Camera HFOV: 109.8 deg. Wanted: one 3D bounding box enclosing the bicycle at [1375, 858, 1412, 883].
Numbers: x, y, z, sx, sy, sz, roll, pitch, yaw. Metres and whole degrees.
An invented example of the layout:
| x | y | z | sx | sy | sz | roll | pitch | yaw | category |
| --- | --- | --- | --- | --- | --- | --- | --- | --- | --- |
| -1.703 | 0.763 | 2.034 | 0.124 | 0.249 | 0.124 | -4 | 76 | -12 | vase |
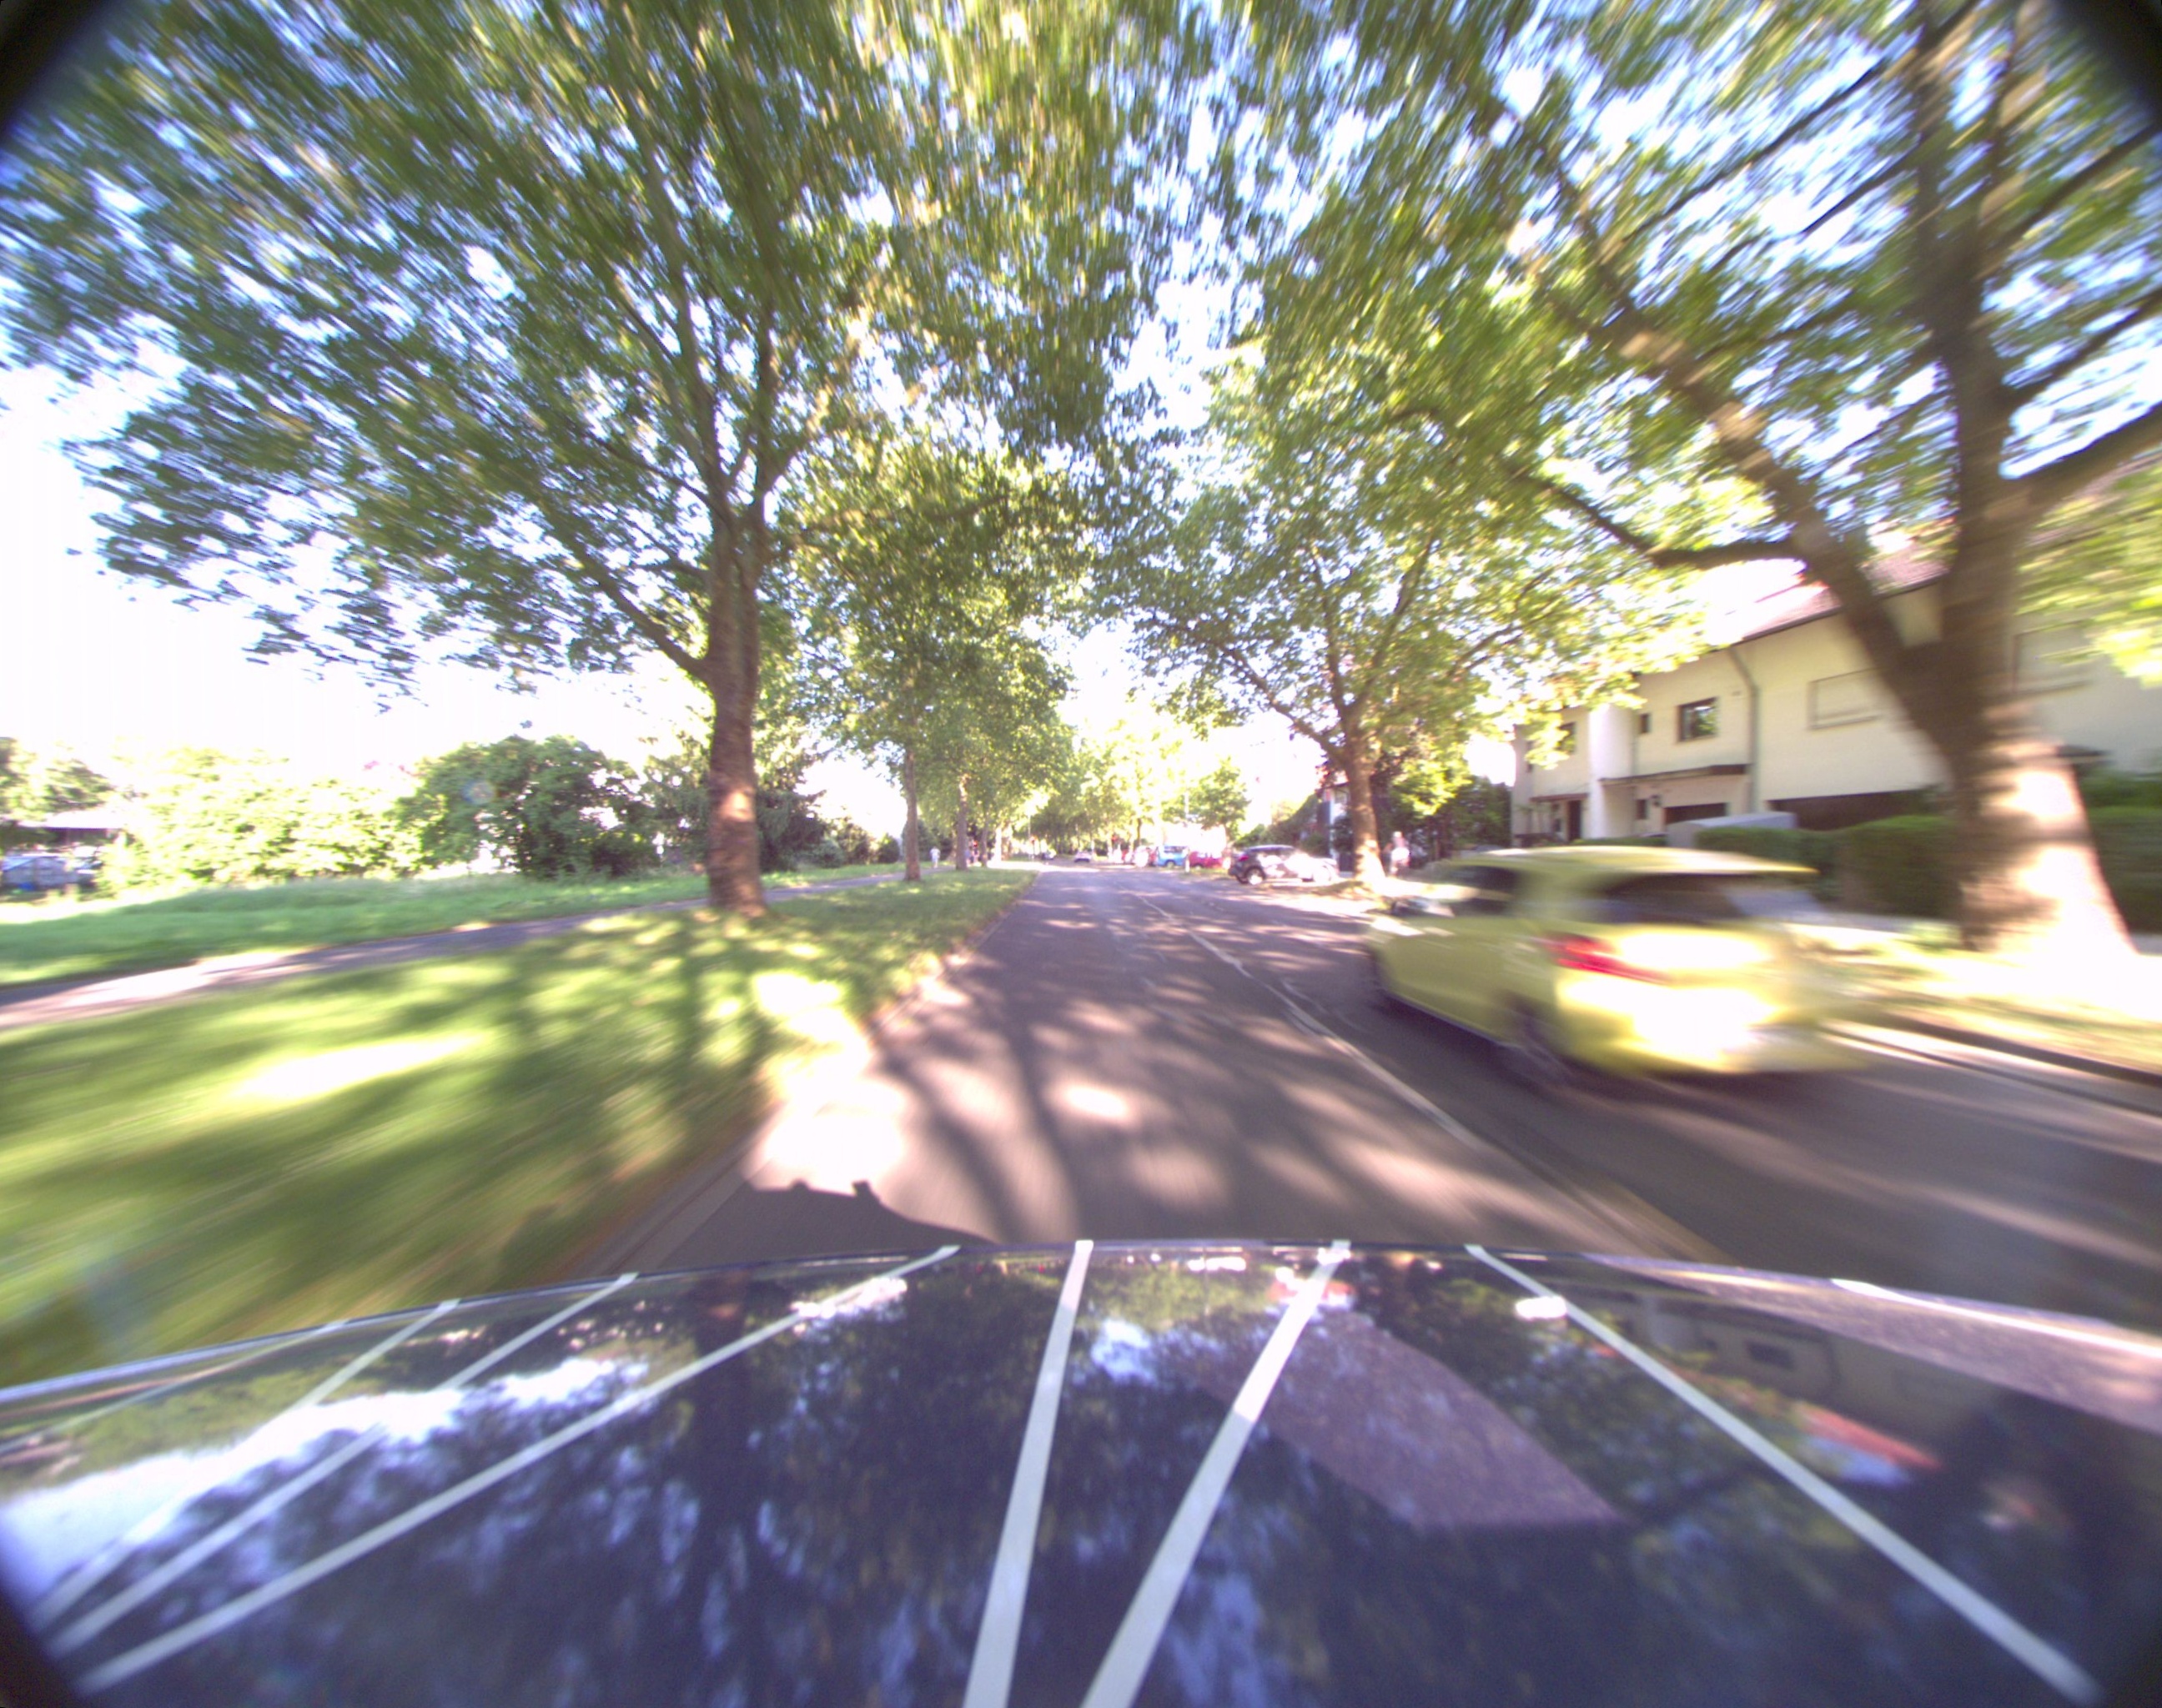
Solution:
| x | y | z | sx | sy | sz | roll | pitch | yaw | category |
| --- | --- | --- | --- | --- | --- | --- | --- | --- | --- |
| 11.689 | 0.599 | 28.468 | 0.471 | 0.875 | 2.155 | -1 | 1 | 0 | bicycle |

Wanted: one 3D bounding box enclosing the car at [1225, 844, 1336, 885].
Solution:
| x | y | z | sx | sy | sz | roll | pitch | yaw | category |
| --- | --- | --- | --- | --- | --- | --- | --- | --- | --- |
| 7.989 | 0.415 | 30.667 | 3.999 | 1.509 | 1.817 | -1 | 1 | -2 | car |

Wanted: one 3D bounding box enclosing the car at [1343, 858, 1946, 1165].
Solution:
| x | y | z | sx | sy | sz | roll | pitch | yaw | category |
| --- | --- | --- | --- | --- | --- | --- | --- | --- | --- |
| 3.501 | 0.812 | 5.762 | 1.788 | 1.504 | 3.838 | -1 | 0 | 1 | car |

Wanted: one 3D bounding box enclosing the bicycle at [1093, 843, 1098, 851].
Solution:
| x | y | z | sx | sy | sz | roll | pitch | yaw | category |
| --- | --- | --- | --- | --- | --- | --- | --- | --- | --- |
| 2.138 | -1.063 | 111.721 | 0.510 | 1.036 | 2.151 | 3 | 4 | -2 | bicycle |

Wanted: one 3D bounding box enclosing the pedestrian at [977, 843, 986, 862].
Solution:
| x | y | z | sx | sy | sz | roll | pitch | yaw | category |
| --- | --- | --- | --- | --- | --- | --- | --- | --- | --- |
| -9.721 | -0.175 | 74.190 | 0.763 | 1.835 | 0.787 | 0 | 1 | 0 | pedestrian |

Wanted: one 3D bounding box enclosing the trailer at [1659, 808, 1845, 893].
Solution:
| x | y | z | sx | sy | sz | roll | pitch | yaw | category |
| --- | --- | --- | --- | --- | --- | --- | --- | --- | --- |
| 17.979 | -0.087 | 20.463 | 3.462 | 1.914 | 1.643 | -5 | 0 | -2 | trailer |

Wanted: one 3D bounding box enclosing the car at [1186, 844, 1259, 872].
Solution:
| x | y | z | sx | sy | sz | roll | pitch | yaw | category |
| --- | --- | --- | --- | --- | --- | --- | --- | --- | --- |
| 8.276 | 0.219 | 44.511 | 3.883 | 1.510 | 1.664 | -2 | 2 | -5 | car |

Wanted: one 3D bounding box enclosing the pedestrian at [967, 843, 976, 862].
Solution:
| x | y | z | sx | sy | sz | roll | pitch | yaw | category |
| --- | --- | --- | --- | --- | --- | --- | --- | --- | --- |
| -10.629 | -0.143 | 73.990 | 0.756 | 1.837 | 0.802 | 0 | 1 | 0 | pedestrian |

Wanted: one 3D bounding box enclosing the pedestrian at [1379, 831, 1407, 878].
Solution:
| x | y | z | sx | sy | sz | roll | pitch | yaw | category |
| --- | --- | --- | --- | --- | --- | --- | --- | --- | --- |
| 11.653 | 0.002 | 28.400 | 0.618 | 1.706 | 1.065 | -1 | 1 | 0 | pedestrian |

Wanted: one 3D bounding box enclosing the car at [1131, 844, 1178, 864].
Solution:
| x | y | z | sx | sy | sz | roll | pitch | yaw | category |
| --- | --- | --- | --- | --- | --- | --- | --- | --- | --- |
| 6.700 | -0.046 | 69.518 | 4.103 | 1.706 | 1.831 | -1 | 1 | -4 | car |

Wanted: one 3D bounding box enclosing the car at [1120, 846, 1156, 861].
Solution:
| x | y | z | sx | sy | sz | roll | pitch | yaw | category |
| --- | --- | --- | --- | --- | --- | --- | --- | --- | --- |
| 6.319 | -0.036 | 84.530 | 3.776 | 1.526 | 1.830 | -1 | 1 | -6 | car |

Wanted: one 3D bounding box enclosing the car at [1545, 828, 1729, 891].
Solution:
| x | y | z | sx | sy | sz | roll | pitch | yaw | category |
| --- | --- | --- | --- | --- | --- | --- | --- | --- | --- |
| 16.634 | 0.152 | 22.885 | 3.997 | 1.468 | 2.000 | -5 | 1 | 0 | car |

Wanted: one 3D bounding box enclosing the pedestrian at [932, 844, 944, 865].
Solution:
| x | y | z | sx | sy | sz | roll | pitch | yaw | category |
| --- | --- | --- | --- | --- | --- | --- | --- | --- | --- |
| -11.502 | 0.047 | 61.156 | 0.782 | 1.640 | 0.938 | 0 | 1 | -3 | pedestrian |

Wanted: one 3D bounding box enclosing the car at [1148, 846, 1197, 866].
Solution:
| x | y | z | sx | sy | sz | roll | pitch | yaw | category |
| --- | --- | --- | --- | --- | --- | --- | --- | --- | --- |
| 7.468 | 0.166 | 62.272 | 3.652 | 1.508 | 1.781 | -1 | 1 | -3 | car |

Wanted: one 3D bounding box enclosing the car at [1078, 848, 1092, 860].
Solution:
| x | y | z | sx | sy | sz | roll | pitch | yaw | category |
| --- | --- | --- | --- | --- | --- | --- | --- | --- | --- |
| 0.455 | 0.003 | 97.906 | 1.721 | 1.492 | 4.093 | -1 | 1 | -1 | car |

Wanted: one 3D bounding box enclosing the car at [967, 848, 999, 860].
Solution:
| x | y | z | sx | sy | sz | roll | pitch | yaw | category |
| --- | --- | --- | --- | --- | --- | --- | --- | --- | --- |
| -12.930 | -0.003 | 99.971 | 4.067 | 1.455 | 1.731 | 0 | 1 | -4 | car |

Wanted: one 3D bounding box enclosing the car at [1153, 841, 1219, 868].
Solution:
| x | y | z | sx | sy | sz | roll | pitch | yaw | category |
| --- | --- | --- | --- | --- | --- | --- | --- | --- | --- |
| 7.525 | 0.005 | 54.703 | 4.398 | 1.814 | 1.994 | -1 | 1 | -5 | car |

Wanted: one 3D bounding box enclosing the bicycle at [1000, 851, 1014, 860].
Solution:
| x | y | z | sx | sy | sz | roll | pitch | yaw | category |
| --- | --- | --- | --- | --- | --- | --- | --- | --- | --- |
| -8.685 | 0.181 | 89.237 | 1.715 | 1.028 | 0.447 | 0 | -1 | 31 | bicycle |

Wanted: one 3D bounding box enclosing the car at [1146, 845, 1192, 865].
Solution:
| x | y | z | sx | sy | sz | roll | pitch | yaw | category |
| --- | --- | --- | --- | --- | --- | --- | --- | --- | --- |
| 7.459 | 0.072 | 64.618 | 3.523 | 1.508 | 1.725 | -2 | 1 | -7 | car |

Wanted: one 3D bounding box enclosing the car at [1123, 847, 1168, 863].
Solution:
| x | y | z | sx | sy | sz | roll | pitch | yaw | category |
| --- | --- | --- | --- | --- | --- | --- | --- | --- | --- |
| 6.299 | 0.085 | 74.523 | 4.174 | 1.492 | 1.874 | -2 | 1 | -5 | car |

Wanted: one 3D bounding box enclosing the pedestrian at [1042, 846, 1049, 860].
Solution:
| x | y | z | sx | sy | sz | roll | pitch | yaw | category |
| --- | --- | --- | --- | --- | --- | --- | --- | --- | --- |
| -4.153 | -0.113 | 88.461 | 0.637 | 1.709 | 0.825 | 2 | 0 | -11 | pedestrian |

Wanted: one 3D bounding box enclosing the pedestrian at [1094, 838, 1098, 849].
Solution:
| x | y | z | sx | sy | sz | roll | pitch | yaw | category |
| --- | --- | --- | --- | --- | --- | --- | --- | --- | --- |
| 2.138 | -1.512 | 111.639 | 0.510 | 1.524 | 1.033 | 0 | 5 | -1 | pedestrian |
